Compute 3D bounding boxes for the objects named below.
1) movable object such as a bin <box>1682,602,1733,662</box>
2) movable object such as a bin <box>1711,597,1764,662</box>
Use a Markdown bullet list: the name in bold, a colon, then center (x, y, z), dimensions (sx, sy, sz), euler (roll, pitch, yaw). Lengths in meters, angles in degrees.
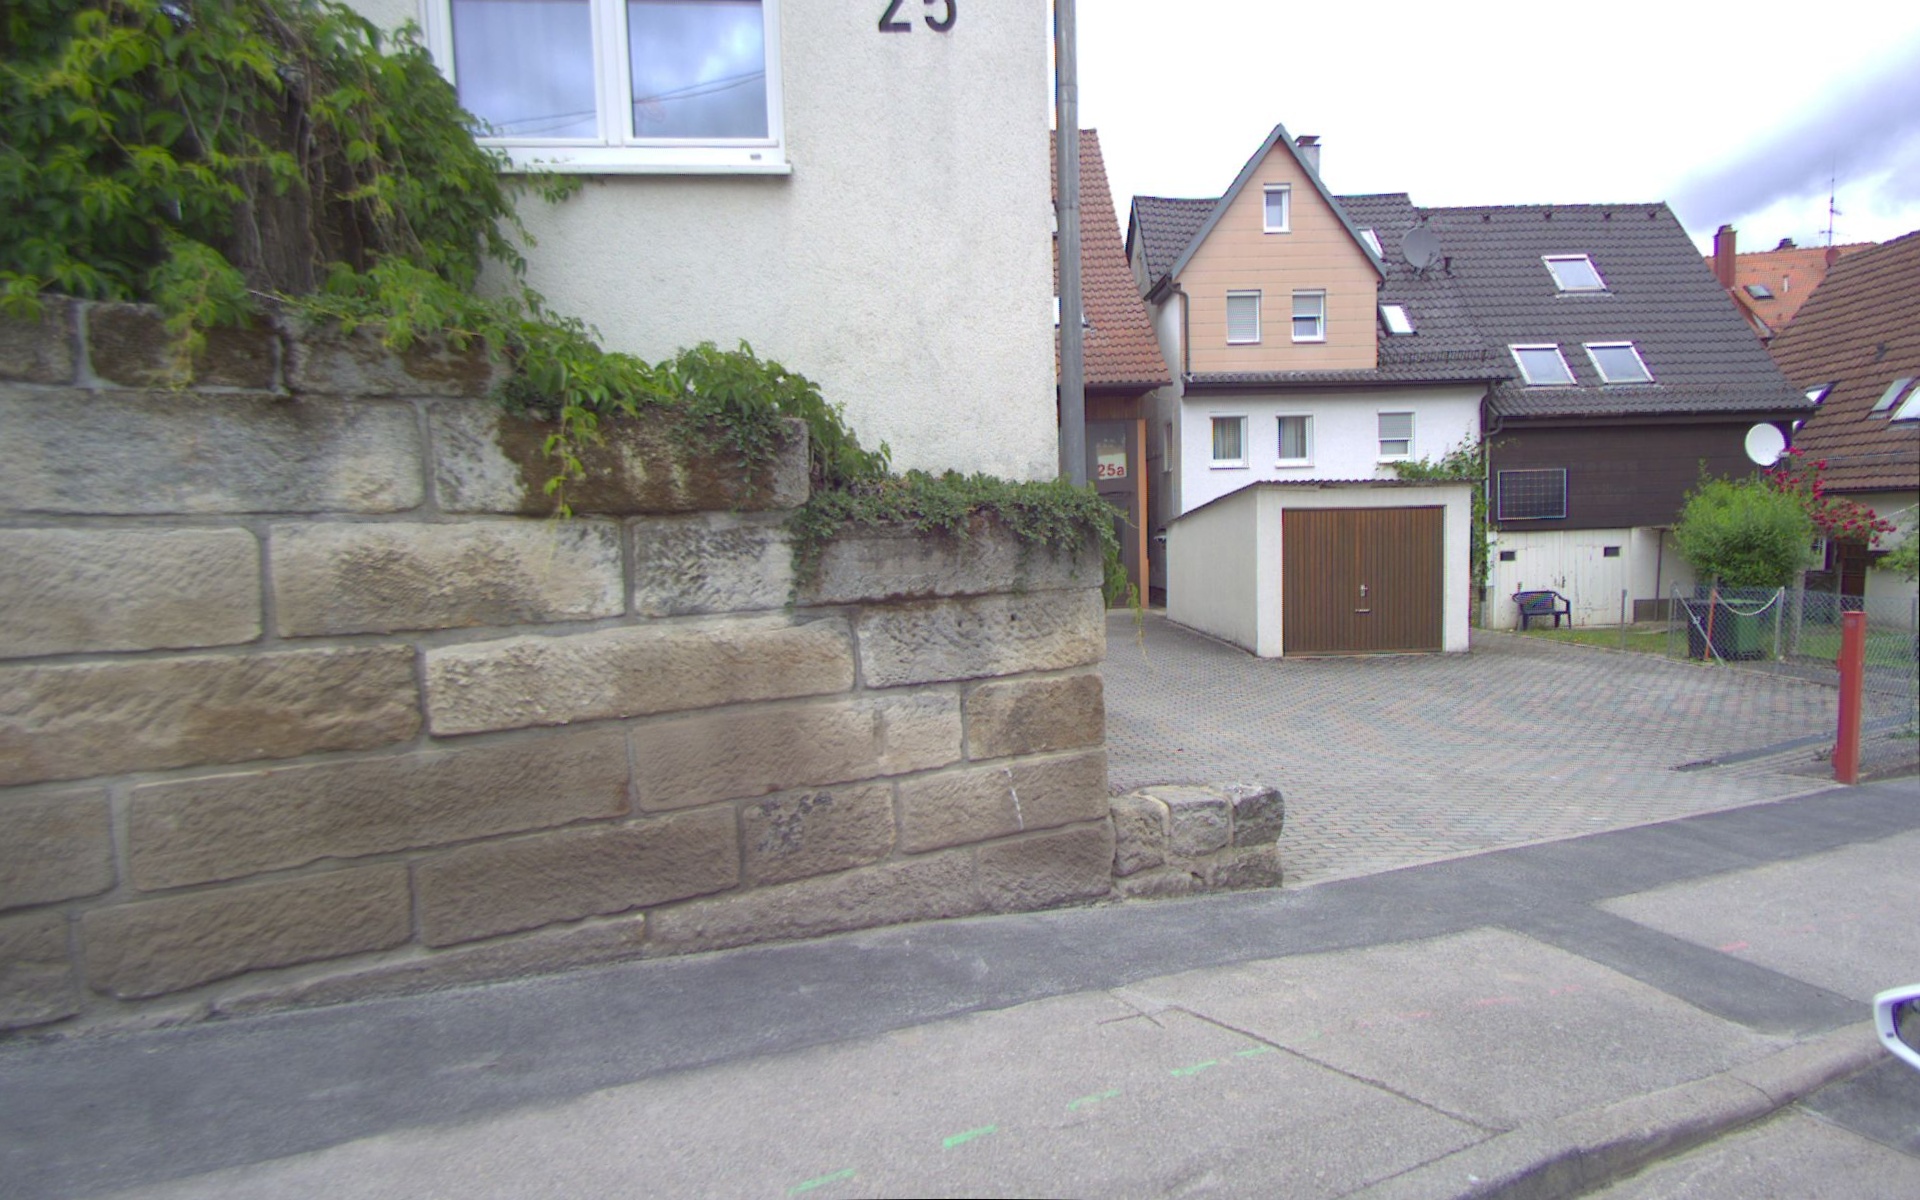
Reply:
- **movable object such as a bin**: center (11.609, 0.498, 15.608), dimensions (0.481, 0.905, 0.376), euler (1, 2, -11)
- **movable object such as a bin**: center (12.145, 0.460, 15.703), dimensions (0.499, 0.994, 0.399), euler (1, 1, -11)
